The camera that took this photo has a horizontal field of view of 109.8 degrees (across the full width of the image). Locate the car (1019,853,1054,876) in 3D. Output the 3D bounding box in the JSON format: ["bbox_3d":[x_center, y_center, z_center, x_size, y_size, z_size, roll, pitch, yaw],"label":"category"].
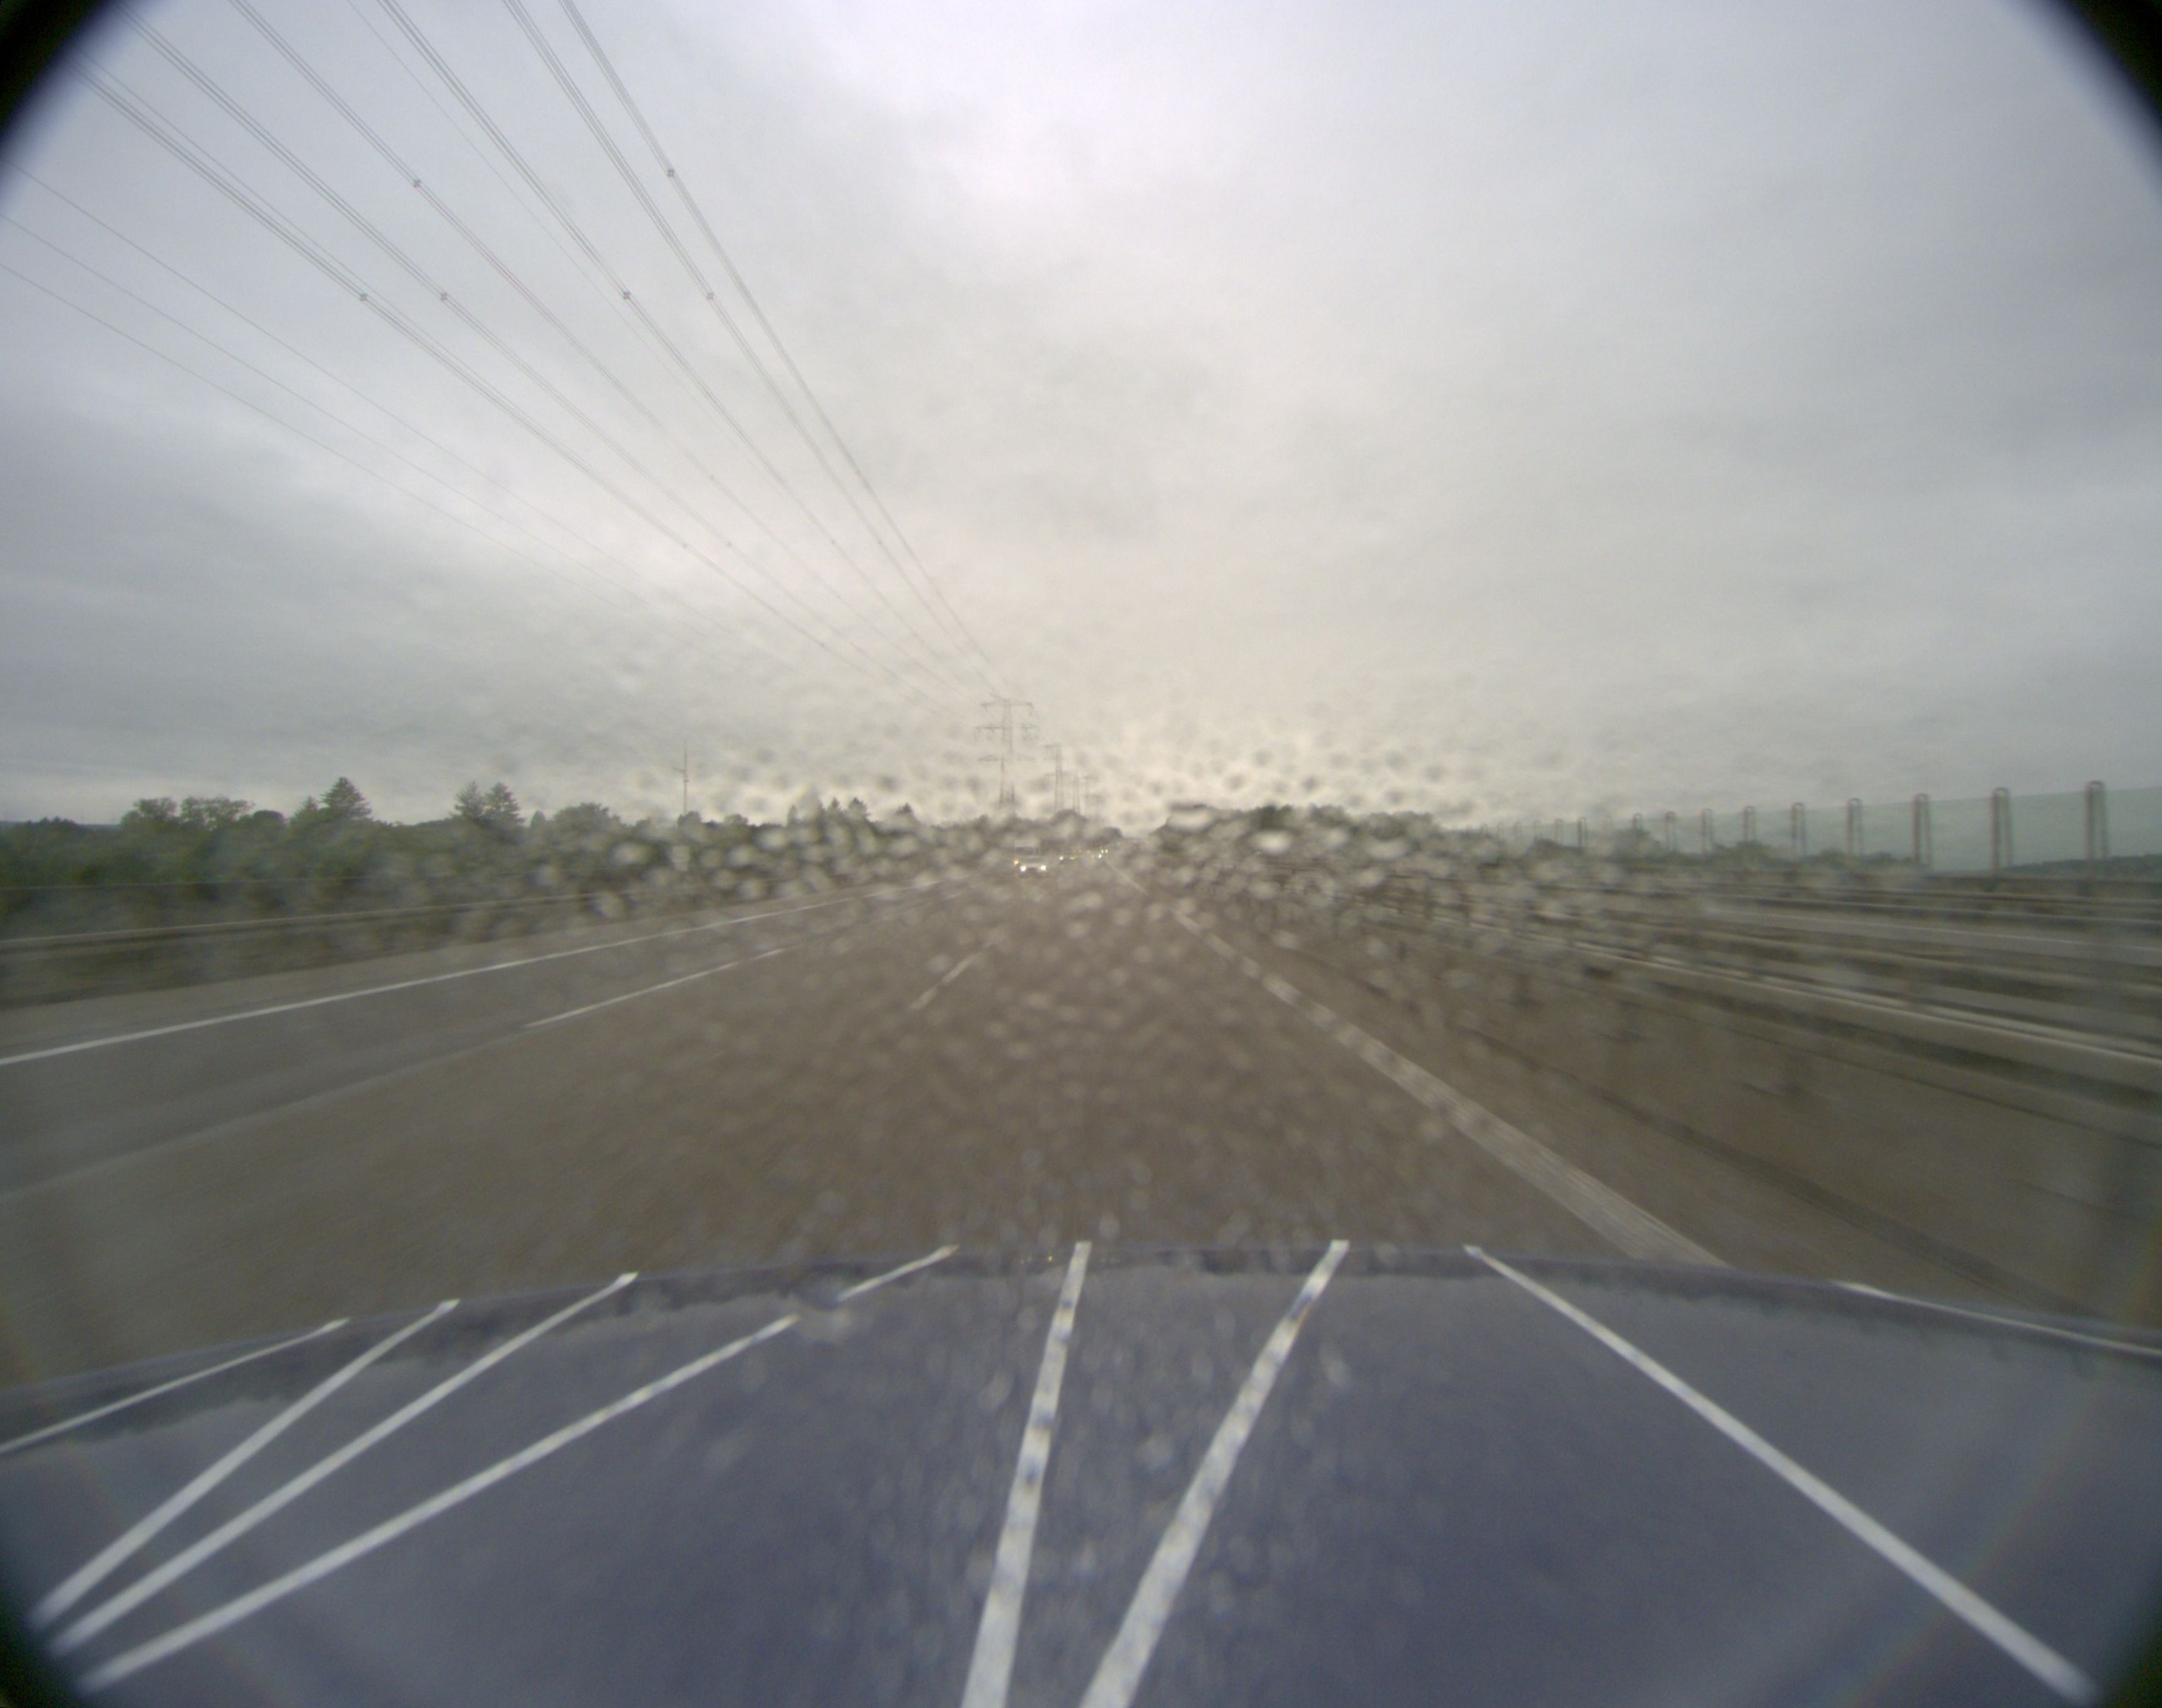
[{"bbox_3d":[-2.948,0.661,51.177,1.998,1.418,4.000,-2,0,1],"label":"car"}]

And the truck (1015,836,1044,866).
[{"bbox_3d":[-5.972,-0.340,88.794,2.649,3.325,6.931,-1,0,1],"label":"truck"}]

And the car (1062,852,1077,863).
[{"bbox_3d":[-1.593,0.432,106.741,1.998,1.418,4.000,-2,0,1],"label":"car"}]

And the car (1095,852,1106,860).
[{"bbox_3d":[3.597,0.331,142.120,1.998,1.418,4.000,-2,0,1],"label":"car"}]

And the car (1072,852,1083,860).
[{"bbox_3d":[-0.724,0.354,146.385,1.998,1.418,4.000,-2,0,1],"label":"car"}]

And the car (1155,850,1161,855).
[{"bbox_3d":[23.461,-0.320,231.984,1.688,1.488,3.860,-1,0,1],"label":"car"}]
